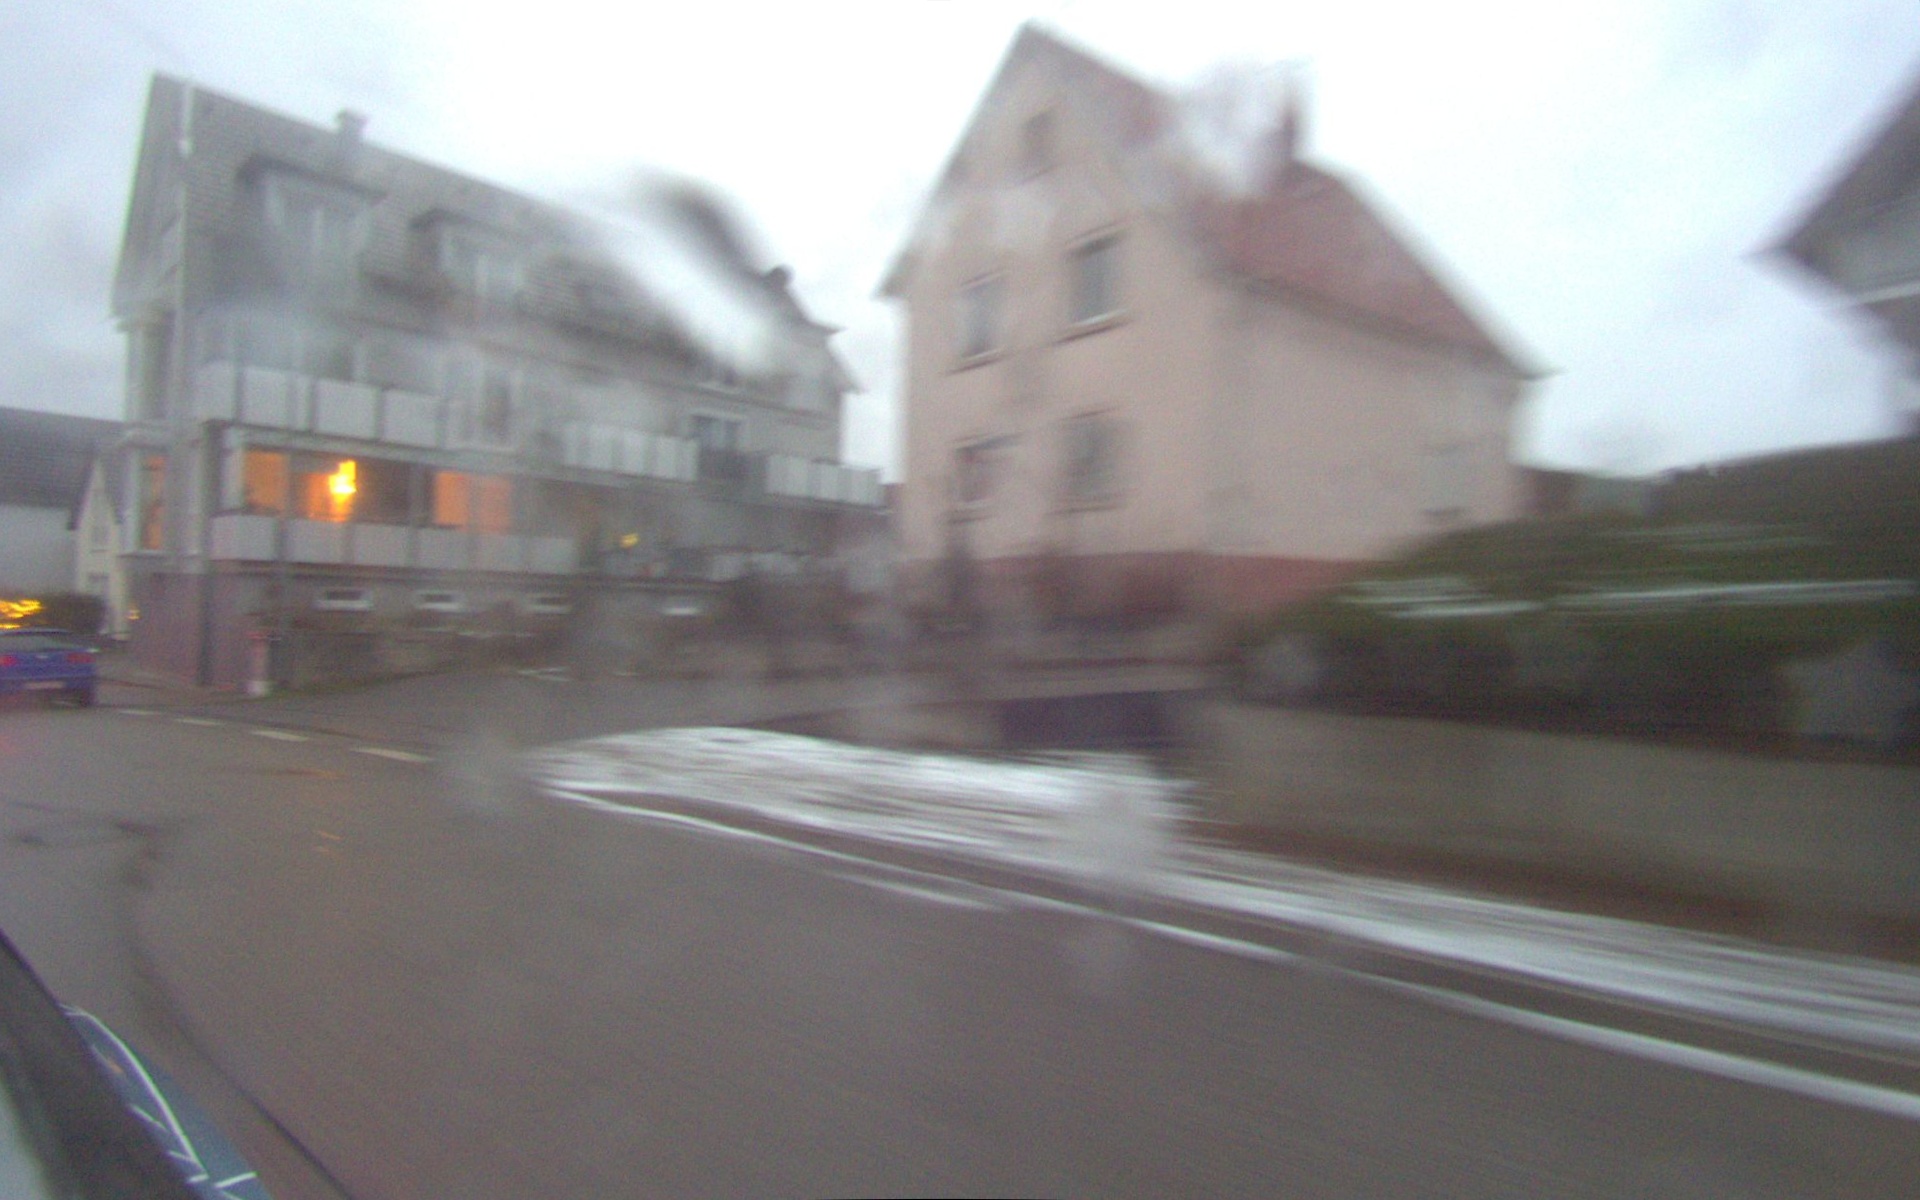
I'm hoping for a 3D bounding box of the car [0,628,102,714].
[{"bbox_3d":[-17.110,1.262,18.228,3.906,1.420,1.652,-3,-3,36],"label":"car"}]

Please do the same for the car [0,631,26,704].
[{"bbox_3d":[-20.615,1.387,20.620,3.683,1.428,1.650,-2,-1,36],"label":"car"}]
